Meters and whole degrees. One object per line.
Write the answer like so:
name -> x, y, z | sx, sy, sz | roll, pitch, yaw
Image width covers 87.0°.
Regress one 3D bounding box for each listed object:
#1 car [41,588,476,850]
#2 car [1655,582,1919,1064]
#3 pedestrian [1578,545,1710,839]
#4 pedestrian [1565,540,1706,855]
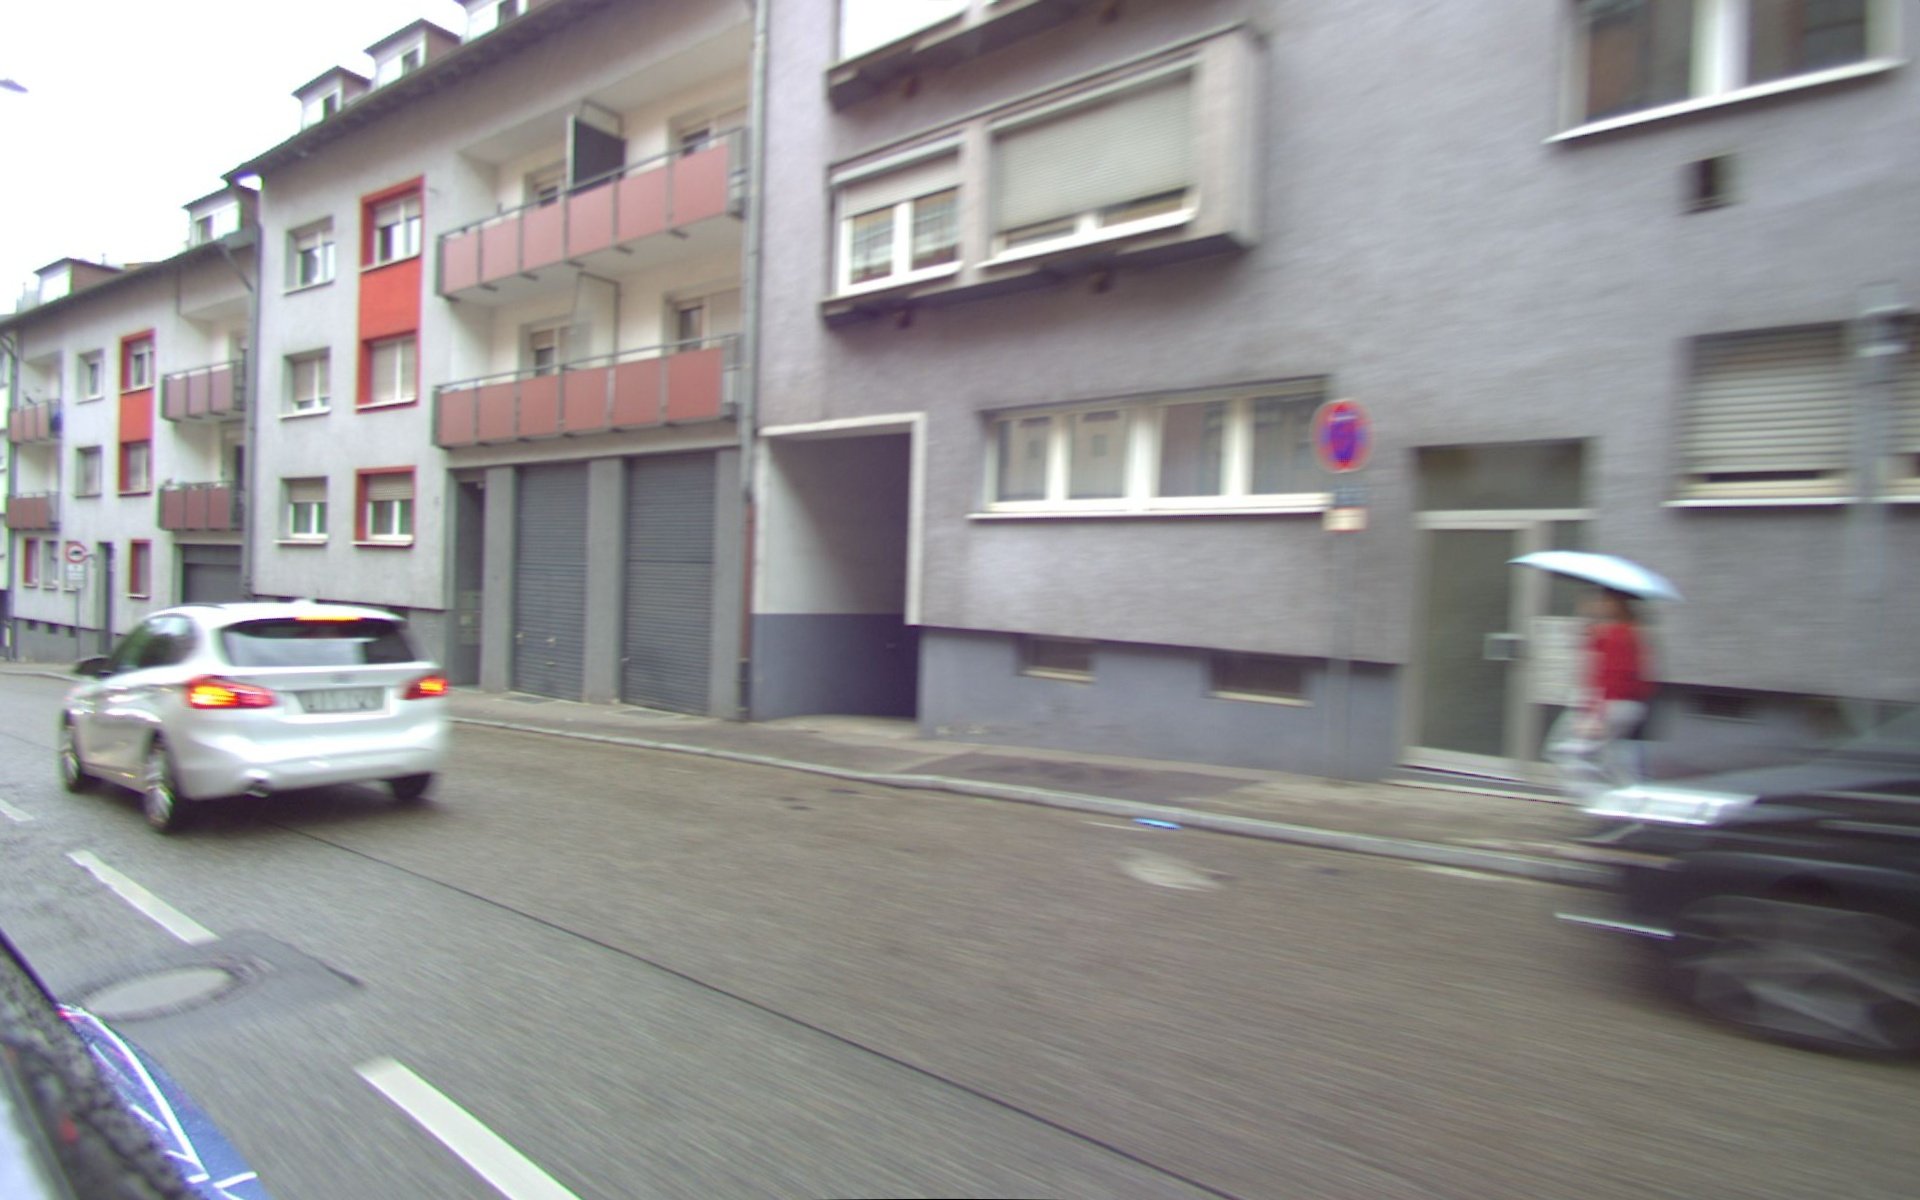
car -> -5.716, 0.754, 8.081 | 4.031, 1.588, 1.747 | -1, -2, 38
car -> 4.299, 0.714, 3.135 | 3.374, 1.508, 1.627 | -1, -3, 41
pedestrian -> 4.446, 0.573, 6.580 | 0.622, 1.789, 0.518 | -2, -3, 40
pedestrian -> 4.112, 0.566, 6.165 | 0.622, 1.789, 0.518 | -2, -3, 40
